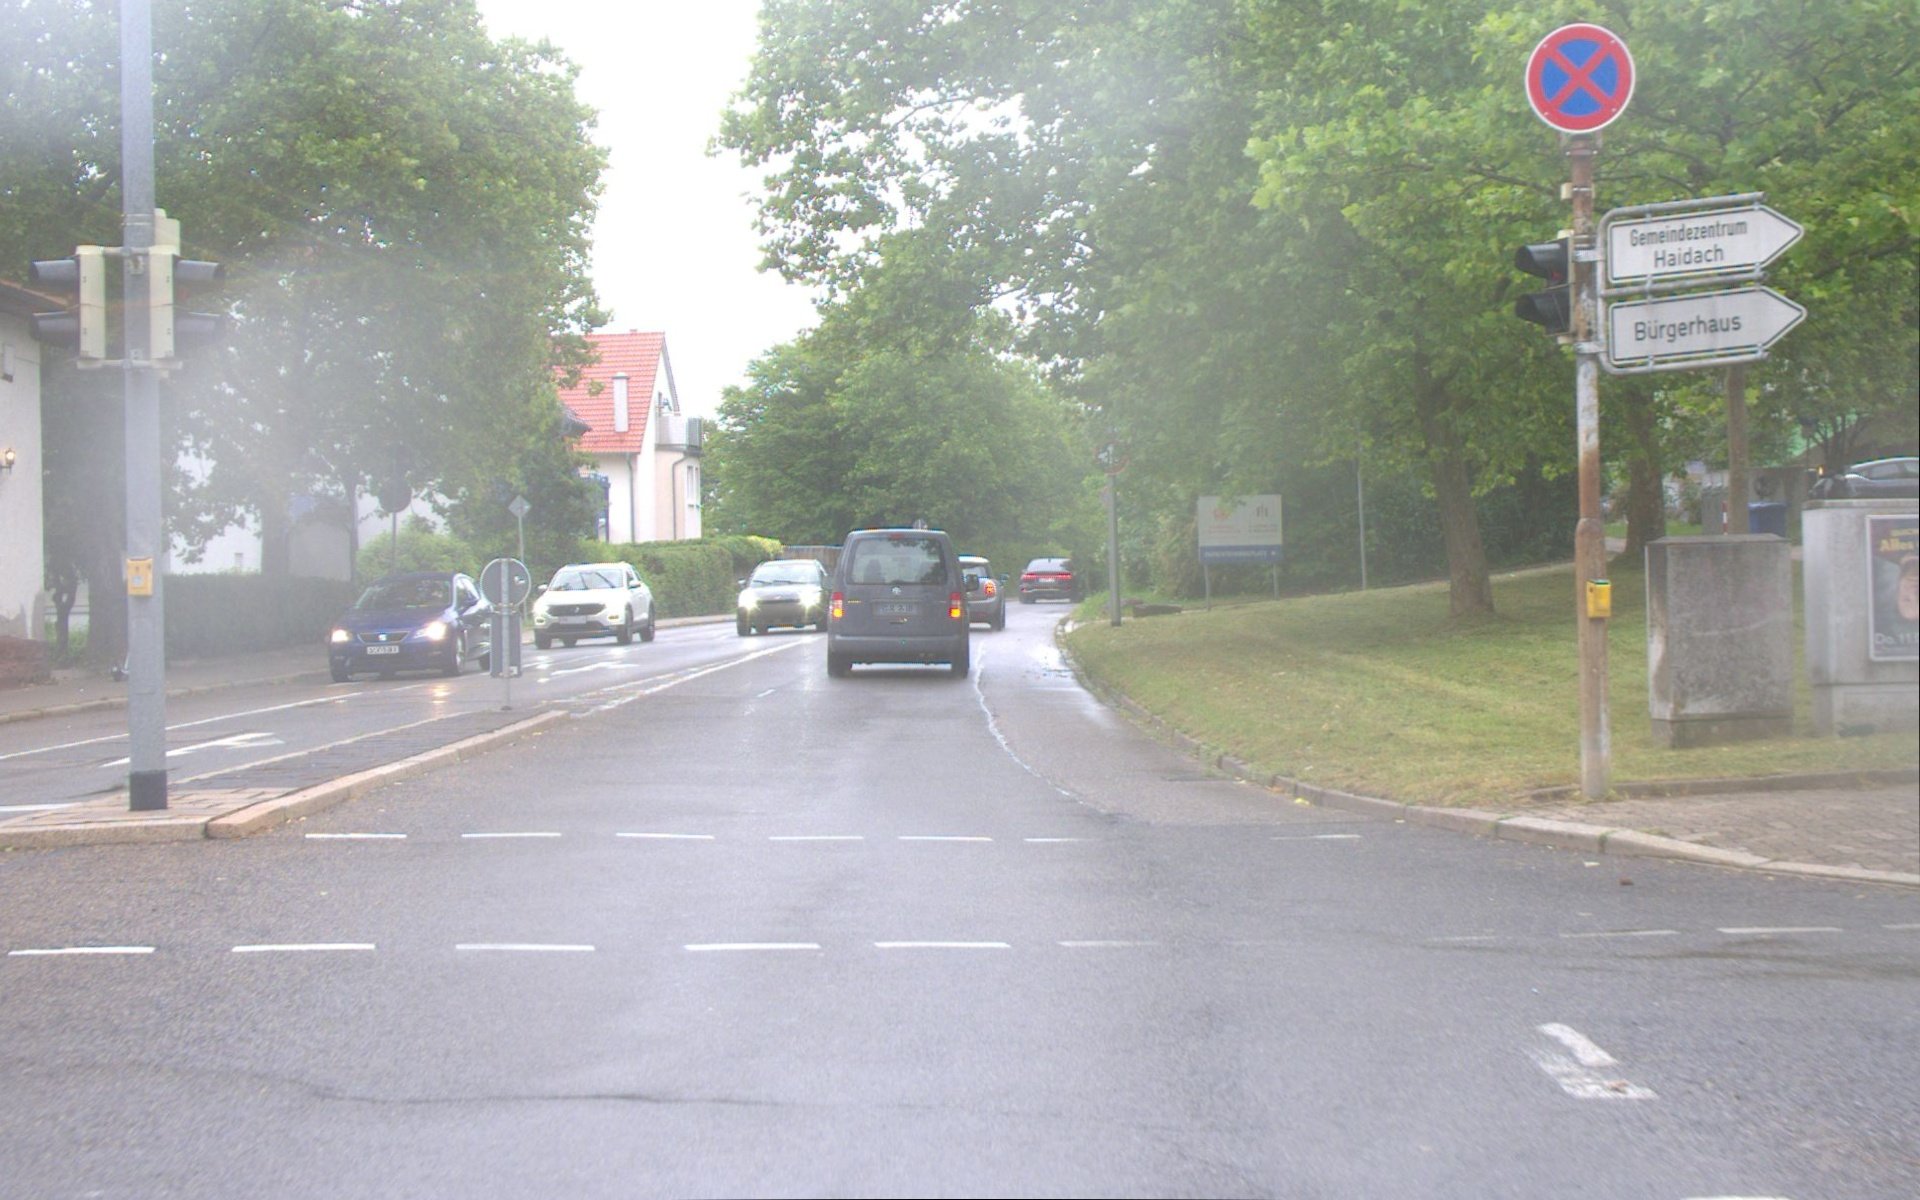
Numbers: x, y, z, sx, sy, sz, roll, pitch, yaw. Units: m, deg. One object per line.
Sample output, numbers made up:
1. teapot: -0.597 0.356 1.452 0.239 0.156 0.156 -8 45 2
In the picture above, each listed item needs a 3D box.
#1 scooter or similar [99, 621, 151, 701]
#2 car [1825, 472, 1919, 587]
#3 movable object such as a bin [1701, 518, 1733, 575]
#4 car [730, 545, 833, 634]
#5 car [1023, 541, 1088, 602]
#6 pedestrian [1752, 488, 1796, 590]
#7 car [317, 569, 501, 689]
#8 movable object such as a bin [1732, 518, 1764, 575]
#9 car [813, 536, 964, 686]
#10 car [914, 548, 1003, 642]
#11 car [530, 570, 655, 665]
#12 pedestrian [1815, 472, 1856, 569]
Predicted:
1. scooter or similar: -11.358 0.821 46.785 0.389 1.061 1.410 1 0 -1
2. car: 16.926 -1.195 58.959 3.989 1.924 1.999 1 0 13
3. movable object such as a bin: 12.264 -0.866 55.702 0.450 0.902 0.462 1 0 19
4. car: -3.515 -0.234 68.092 1.747 1.666 3.707 -1 1 1
5. car: 3.023 -0.895 109.701 1.993 1.875 4.000 1 0 1
6. pedestrian: 14.141 -1.054 59.711 0.557 1.757 0.728 1 0 -1
7. car: -7.661 0.373 48.157 1.793 1.522 4.209 -1 1 1
8. movable object such as a bin: 12.724 -0.861 55.536 0.450 0.902 0.462 1 0 19
9. car: -0.861 0.133 43.601 1.812 1.802 3.756 1 0 0
10. car: -0.020 -0.098 68.461 1.705 1.802 3.685 1 0 0
11. car: -6.954 0.311 65.422 1.830 1.666 4.051 -1 1 1
12. pedestrian: 14.620 -1.322 57.433 0.601 1.611 0.525 1 0 10
